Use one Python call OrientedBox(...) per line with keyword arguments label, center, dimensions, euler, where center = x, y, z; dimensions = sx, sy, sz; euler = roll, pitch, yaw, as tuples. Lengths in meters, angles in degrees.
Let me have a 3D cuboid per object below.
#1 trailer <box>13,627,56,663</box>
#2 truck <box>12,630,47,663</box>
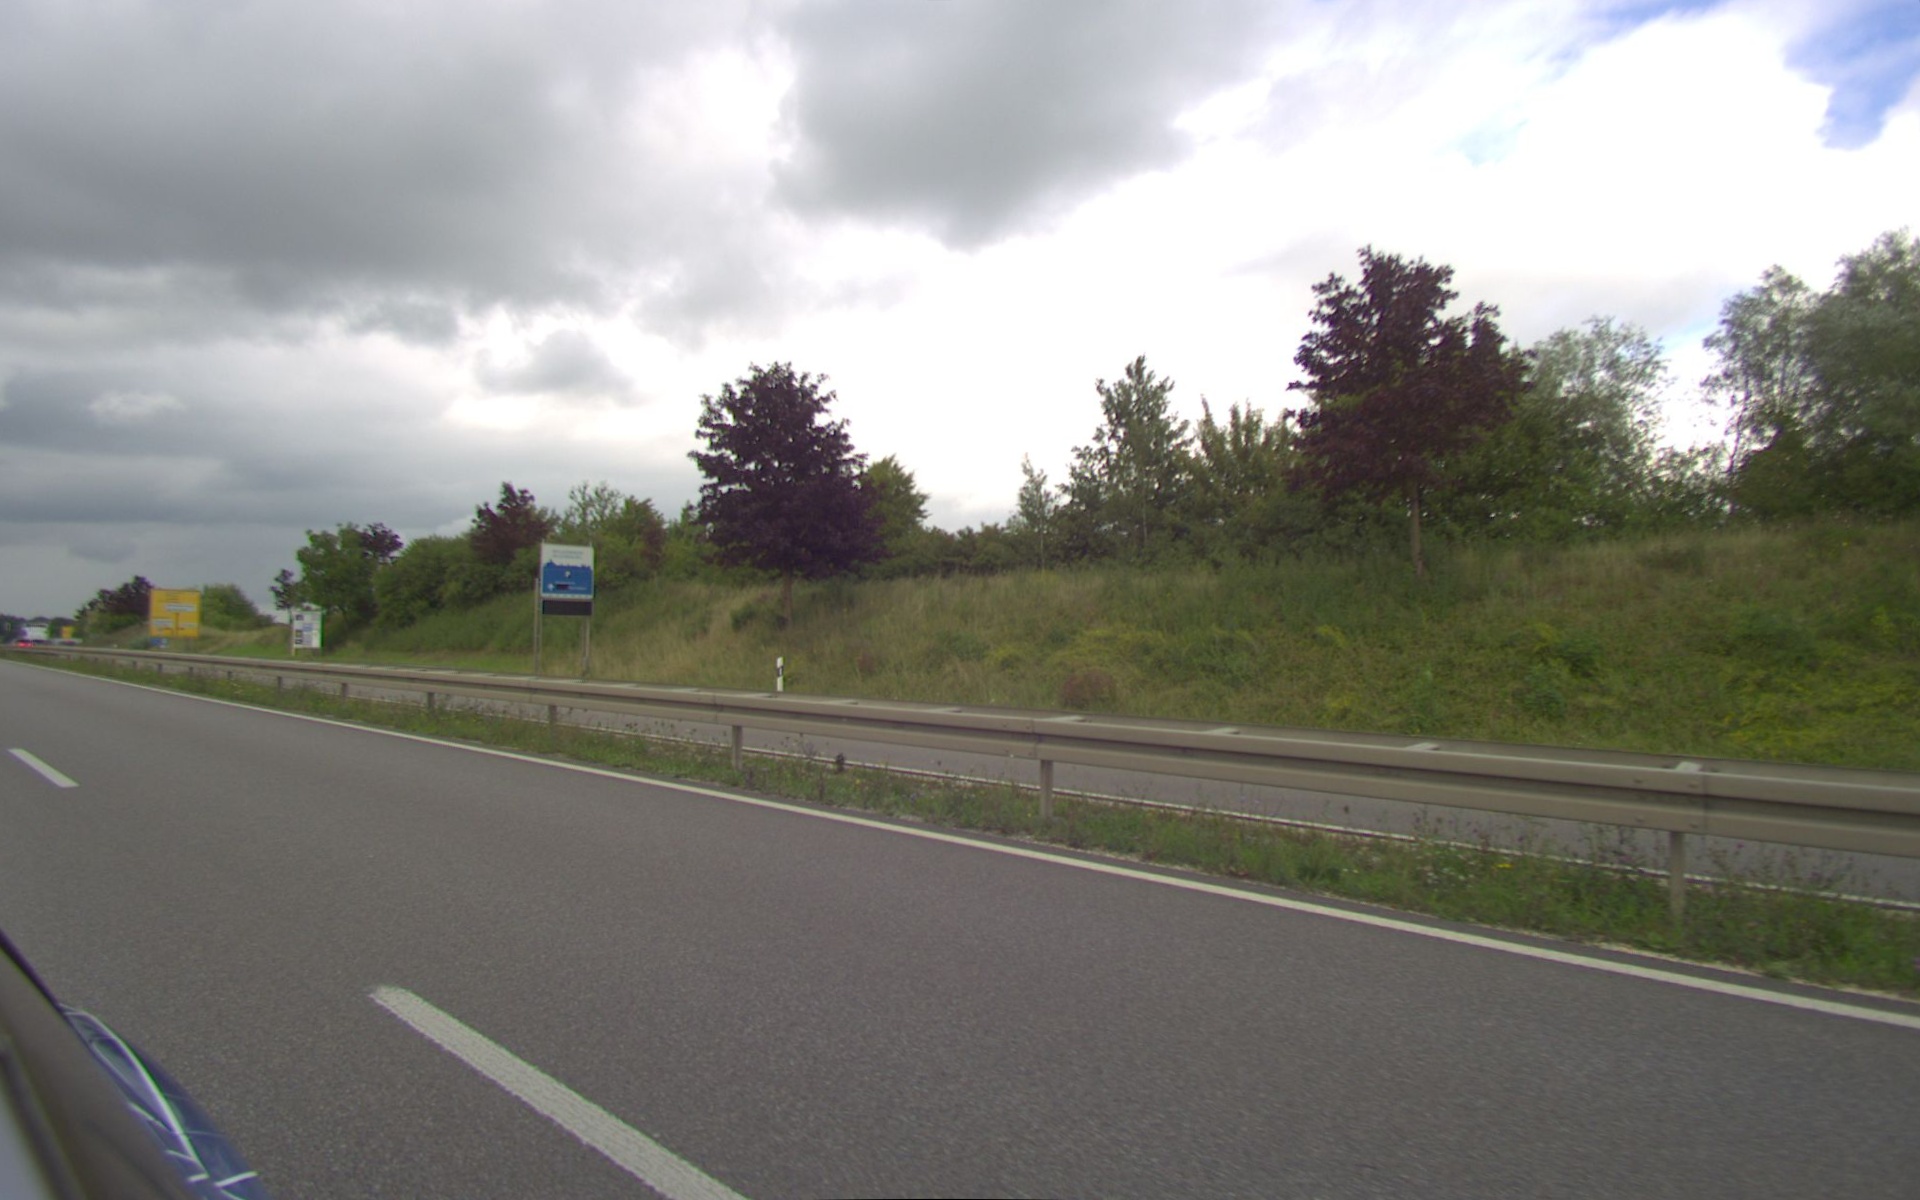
OrientedBox(label="trailer", center=(-109.568, 5.425, 119.755), dimensions=(12.985, 3.977, 2.744), euler=(-4, -4, 43))
OrientedBox(label="truck", center=(-114.620, 5.746, 124.616), dimensions=(5.287, 4.028, 2.771), euler=(-4, -4, 43))
